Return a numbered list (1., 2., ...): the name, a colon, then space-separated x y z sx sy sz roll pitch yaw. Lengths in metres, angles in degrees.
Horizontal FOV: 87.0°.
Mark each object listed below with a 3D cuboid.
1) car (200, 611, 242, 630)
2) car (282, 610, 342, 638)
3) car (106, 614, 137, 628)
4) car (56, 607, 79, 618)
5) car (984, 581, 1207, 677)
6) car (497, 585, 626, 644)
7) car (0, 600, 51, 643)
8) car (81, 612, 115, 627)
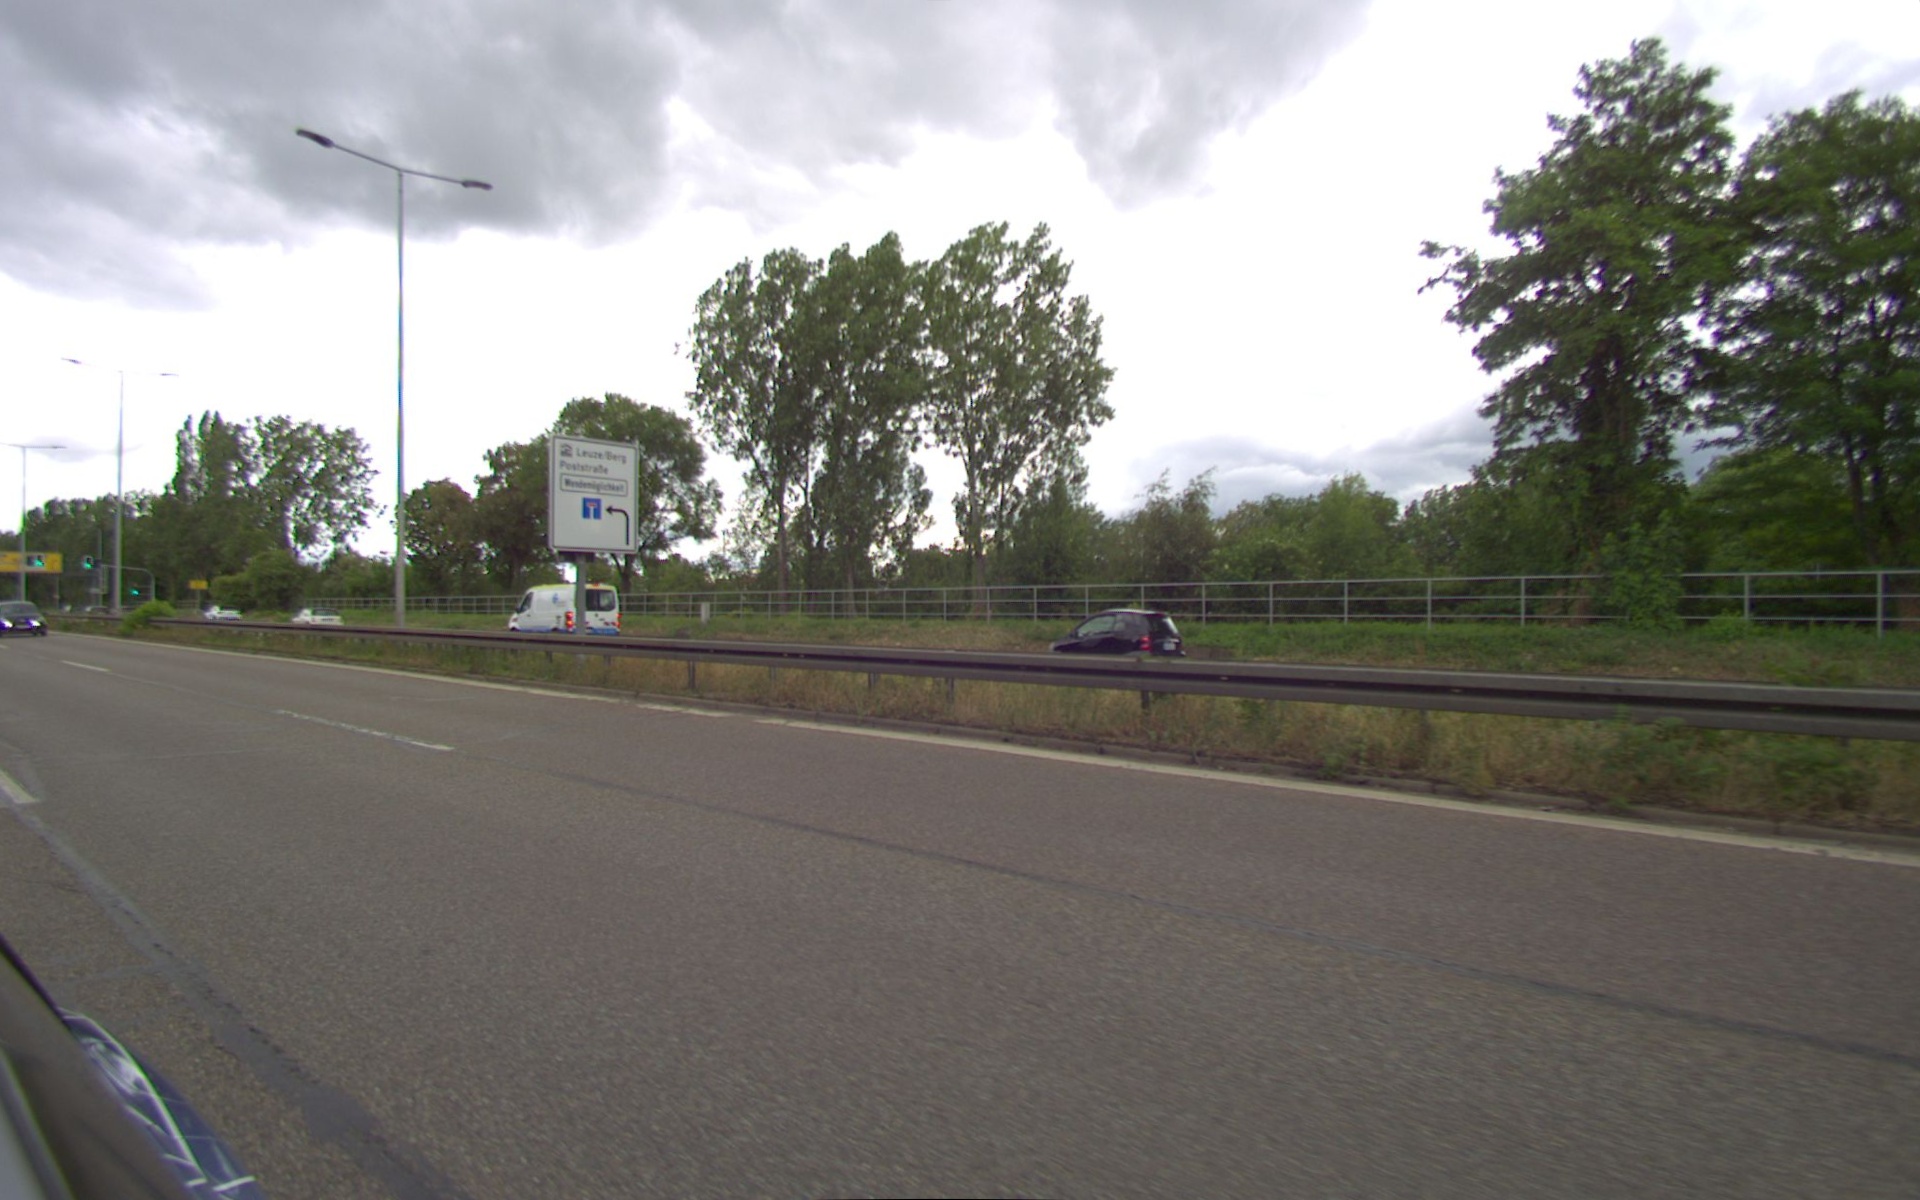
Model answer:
1. car: -59.005 1.642 80.771 4.200 1.501 1.859 -1 0 41
2. car: -34.371 1.263 53.663 3.987 1.409 1.642 -1 -1 41
3. car: -85.658 2.170 103.350 4.784 1.309 1.643 -1 0 40
4. car: -109.178 1.542 123.777 4.059 1.309 1.562 -1 -1 41
5. car: 2.660 0.551 20.469 4.146 1.738 1.858 -2 -1 43
6. car: -14.457 0.527 36.539 5.474 1.963 2.201 -1 -1 43
7. car: -41.060 0.936 43.899 4.143 1.738 1.860 -1 -1 40
8. car: -81.003 1.815 95.078 4.784 1.309 1.643 -1 0 40
